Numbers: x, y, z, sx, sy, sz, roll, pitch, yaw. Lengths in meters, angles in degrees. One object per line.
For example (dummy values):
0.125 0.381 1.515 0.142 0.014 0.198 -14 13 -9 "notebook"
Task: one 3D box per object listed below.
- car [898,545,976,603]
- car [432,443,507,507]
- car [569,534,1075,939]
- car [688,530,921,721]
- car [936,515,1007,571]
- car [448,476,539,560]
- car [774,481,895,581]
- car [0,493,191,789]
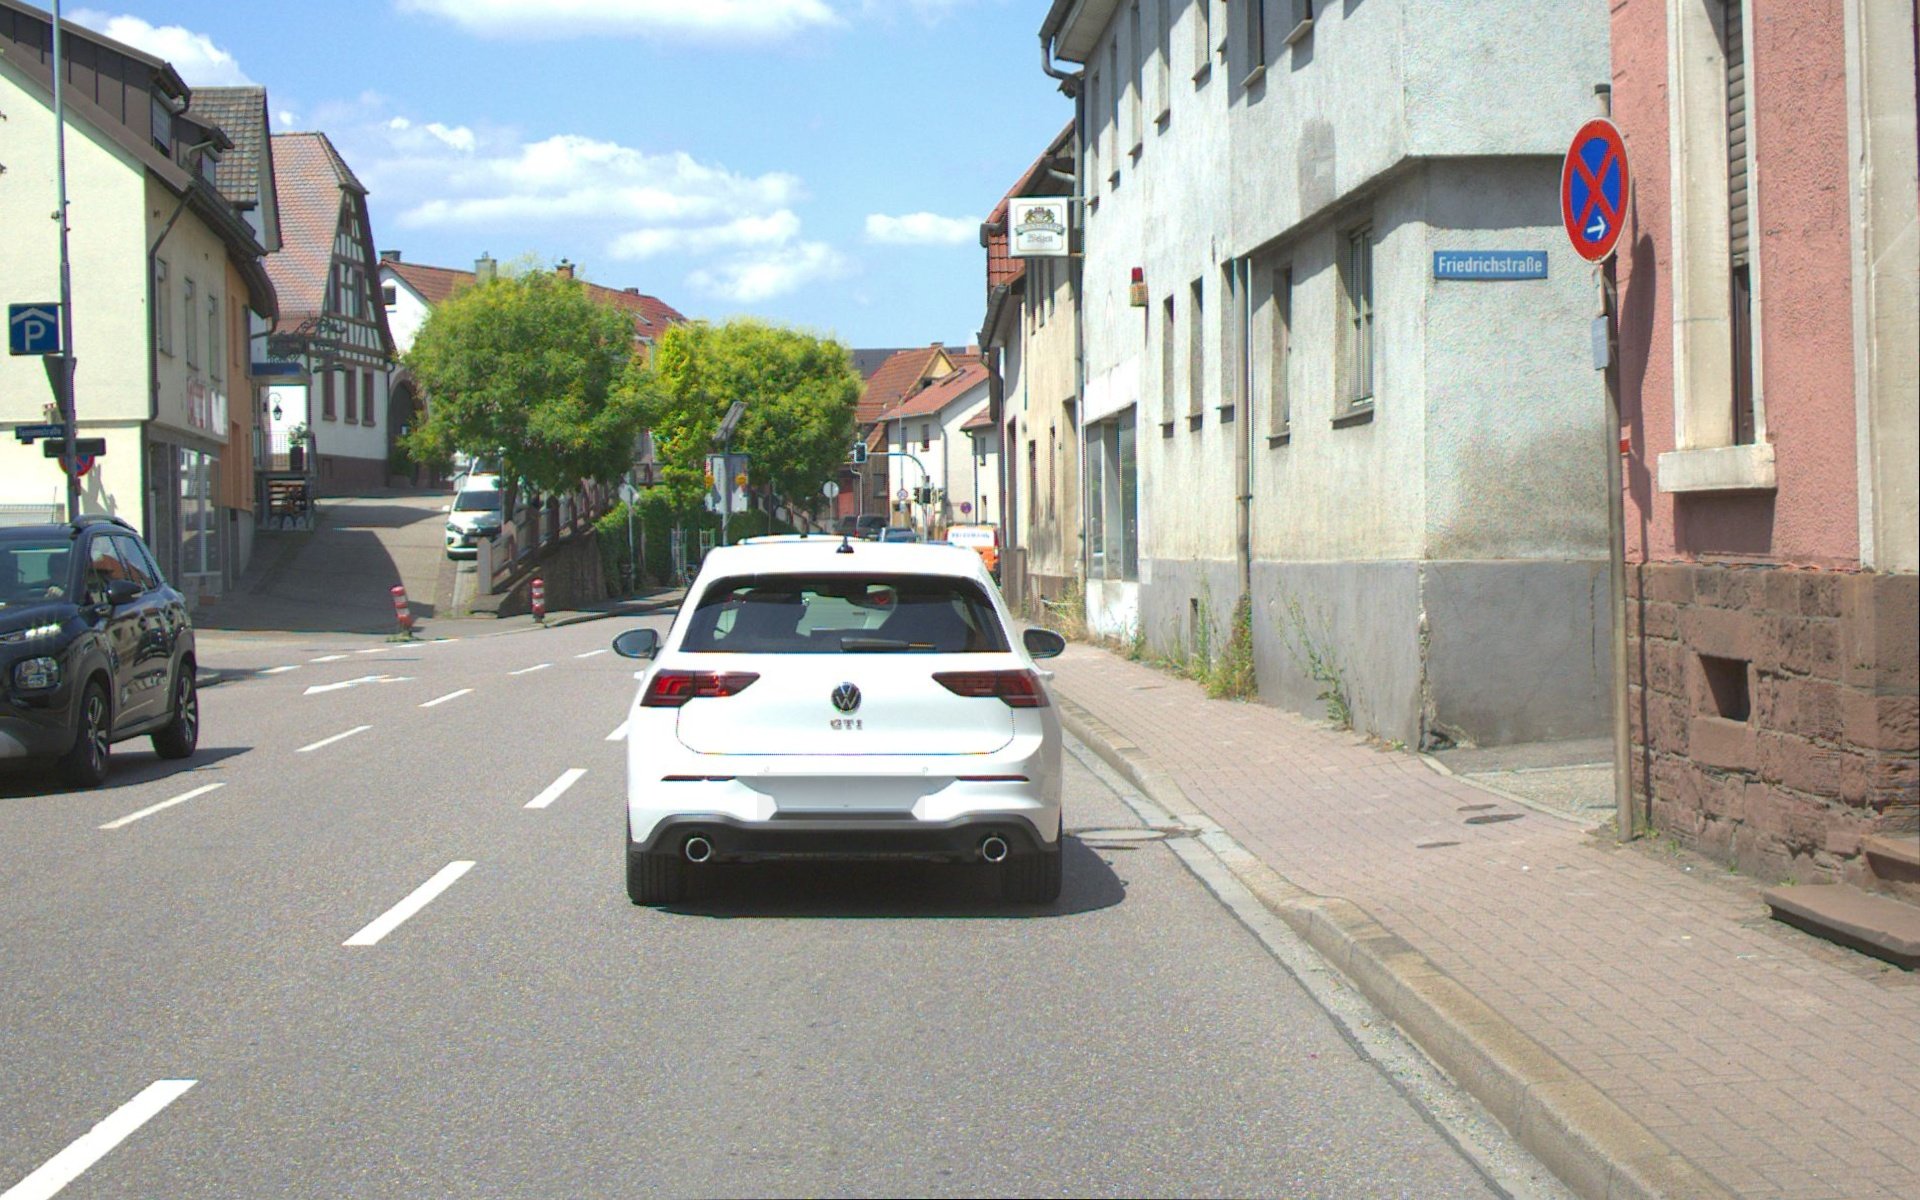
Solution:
-0.609 -0.738 94.592 1.776 1.533 4.000 0 1 5 "car"
-12.875 -3.313 90.444 1.576 1.357 3.857 0 7 -2 "car"
-0.458 0.493 14.955 1.808 1.462 4.000 2 1 3 "car"
-1.361 0.179 29.431 1.807 1.462 4.001 2 1 -3 "car"
0.401 -1.843 110.438 1.776 1.759 3.999 0 1 8 "car"
-10.541 -1.886 77.881 1.693 1.537 3.857 0 7 -2 "car"
-1.971 -1.077 54.498 1.807 1.462 4.000 2 1 -2 "car"
-6.000 0.215 21.324 1.669 1.652 4.018 -2 1 -2 "car"
